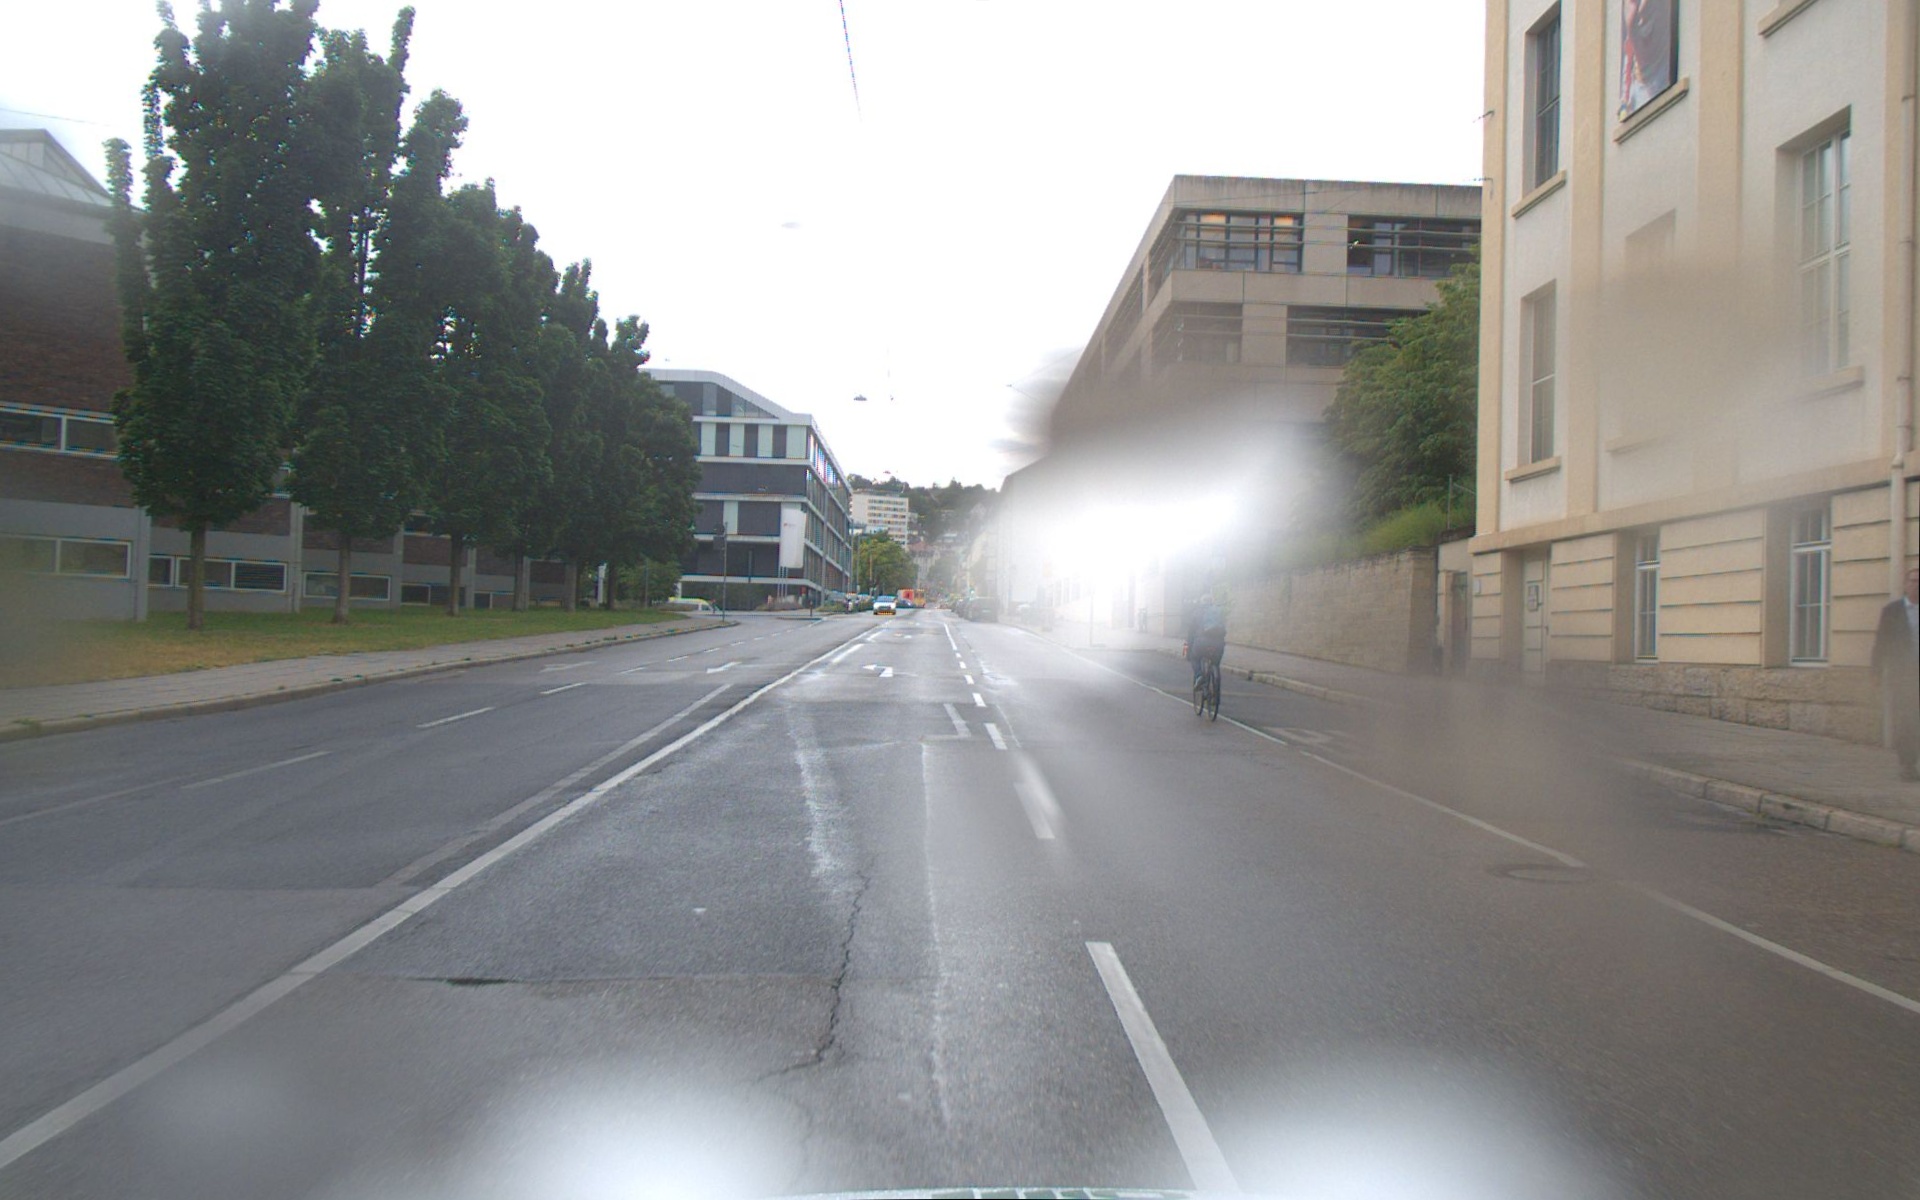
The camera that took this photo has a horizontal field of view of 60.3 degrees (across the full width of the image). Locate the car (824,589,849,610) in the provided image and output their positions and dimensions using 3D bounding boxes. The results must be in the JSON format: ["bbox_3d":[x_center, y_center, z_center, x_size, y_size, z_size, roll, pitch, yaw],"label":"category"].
[{"bbox_3d":[-10.346,-0.039,138.893,1.812,1.646,4.489,3,-1,-1],"label":"car"}]

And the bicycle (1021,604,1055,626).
[{"bbox_3d":[4.180,0.786,88.371,1.696,1.138,0.659,2,-1,-7],"label":"bicycle"}]

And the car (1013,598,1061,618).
[{"bbox_3d":[7.101,0.757,152.673,4.348,1.743,1.904,-1,-1,-2],"label":"car"}]

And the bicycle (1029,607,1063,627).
[{"bbox_3d":[4.541,0.890,87.398,1.724,0.970,0.659,2,-1,-5],"label":"bicycle"}]

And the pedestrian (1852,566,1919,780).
[{"bbox_3d":[8.412,0.629,14.556,0.656,1.829,0.852,1,-1,0],"label":"pedestrian"}]

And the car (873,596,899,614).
[{"bbox_3d":[-6.291,0.416,141.676,1.842,1.517,5.220,0,0,1],"label":"car"}]

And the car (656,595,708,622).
[{"bbox_3d":[-25.331,0.750,150.860,4.503,2.212,1.928,3,-1,-7],"label":"car"}]

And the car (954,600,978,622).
[{"bbox_3d":[0.513,0.969,143.922,1.896,1.780,4.795,3,-1,-1],"label":"car"}]

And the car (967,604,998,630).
[{"bbox_3d":[1.492,1.119,111.224,1.735,1.632,4.392,3,-1,-2],"label":"car"}]

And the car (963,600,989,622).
[{"bbox_3d":[1.188,0.871,127.279,1.708,1.560,4.317,3,-1,-2],"label":"car"}]

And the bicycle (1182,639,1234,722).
[{"bbox_3d":[3.244,1.040,21.718,0.438,0.980,1.690,2,0,1],"label":"bicycle"}]

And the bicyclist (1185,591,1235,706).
[{"bbox_3d":[3.263,0.625,21.647,0.474,1.458,0.930,2,-1,1],"label":"bicyclist"}]
